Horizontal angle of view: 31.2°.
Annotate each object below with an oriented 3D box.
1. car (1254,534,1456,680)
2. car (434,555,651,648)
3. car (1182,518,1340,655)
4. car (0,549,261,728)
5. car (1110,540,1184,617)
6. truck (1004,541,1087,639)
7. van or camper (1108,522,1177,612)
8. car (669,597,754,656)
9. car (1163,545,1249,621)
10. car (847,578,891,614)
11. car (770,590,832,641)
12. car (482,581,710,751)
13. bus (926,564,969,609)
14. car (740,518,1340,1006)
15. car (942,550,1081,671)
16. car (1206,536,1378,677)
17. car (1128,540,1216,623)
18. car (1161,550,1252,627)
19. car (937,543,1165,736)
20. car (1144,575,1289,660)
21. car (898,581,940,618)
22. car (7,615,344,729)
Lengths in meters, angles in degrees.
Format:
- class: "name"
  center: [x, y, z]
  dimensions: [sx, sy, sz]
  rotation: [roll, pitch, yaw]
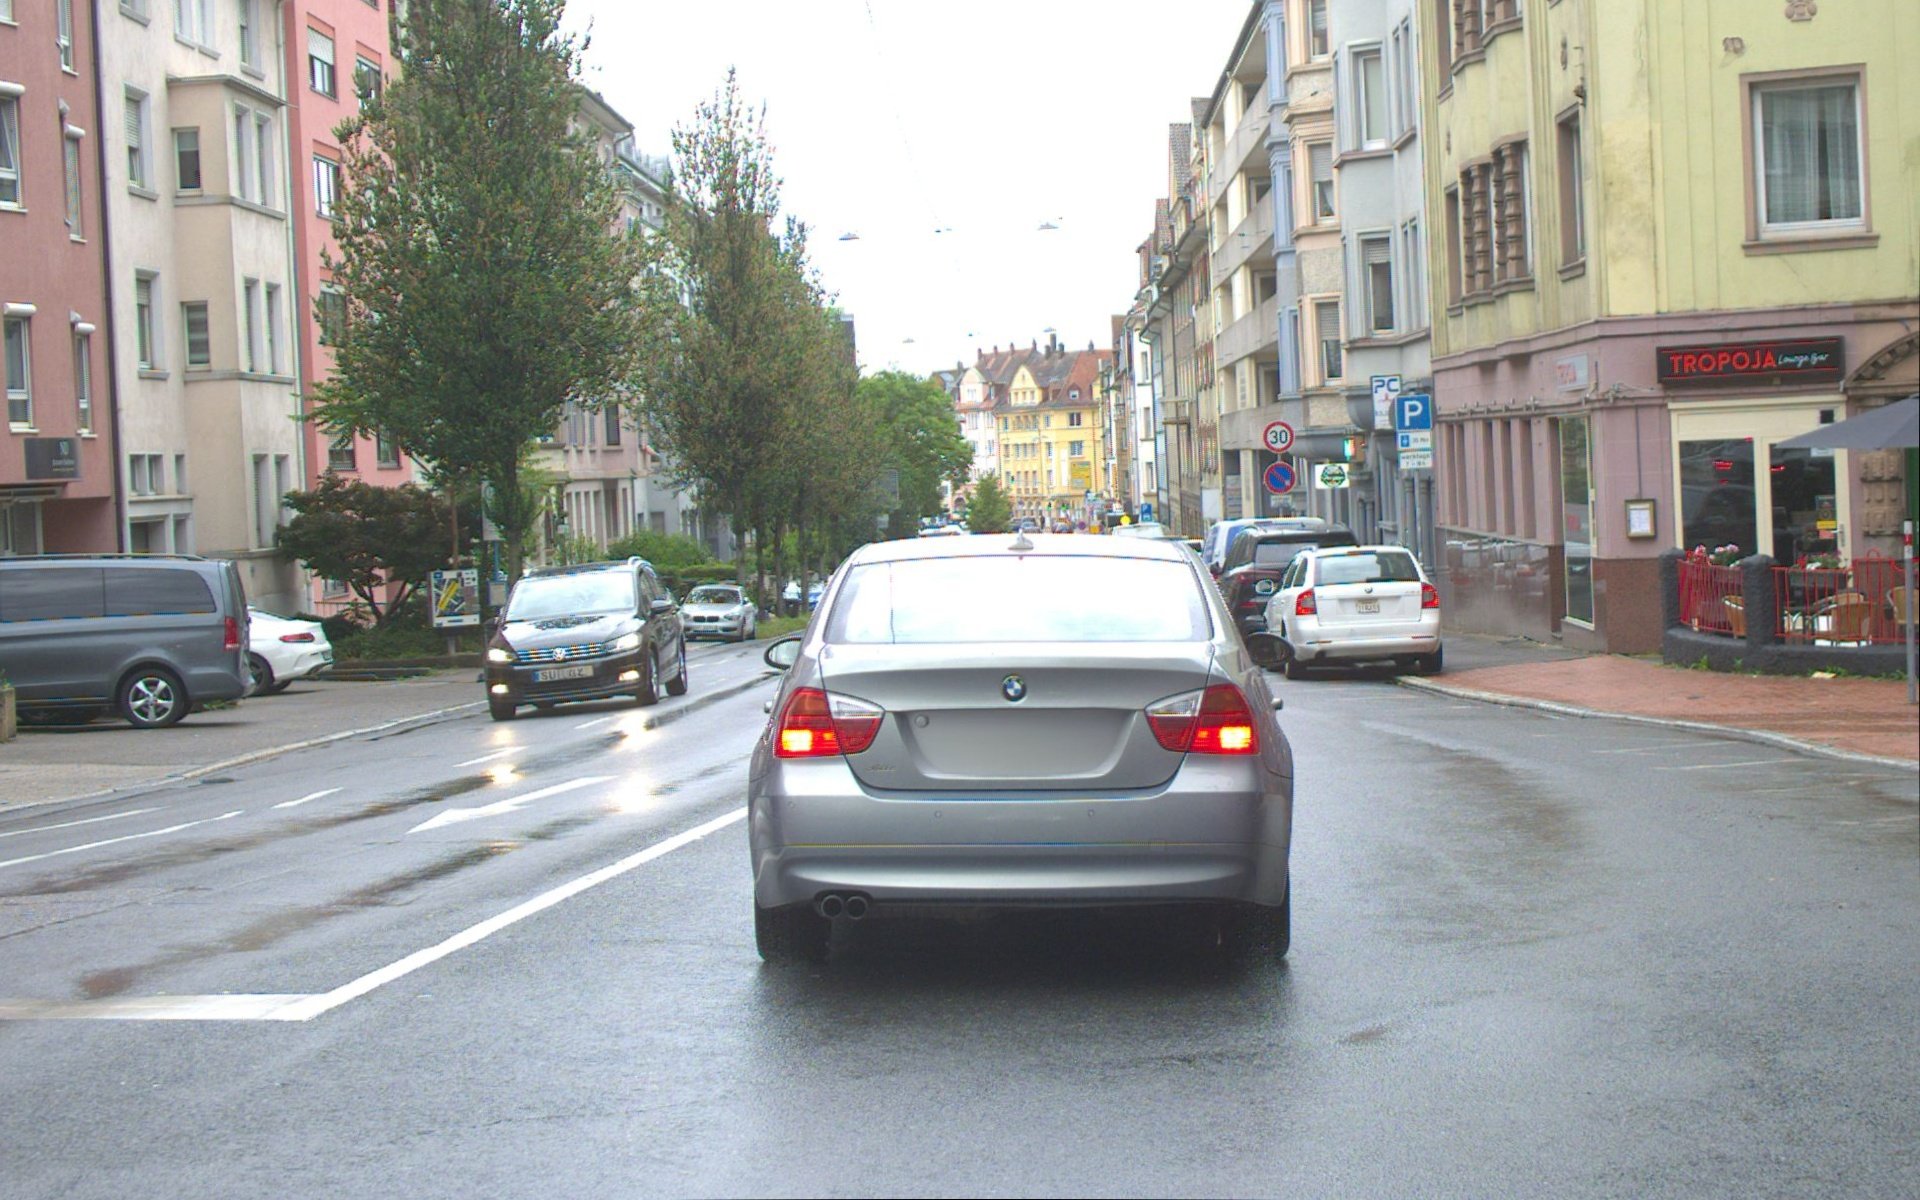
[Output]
- class: "car"
  center: [4.449, 0.068, 39.304]
  dimensions: [1.799, 1.559, 4.493]
  rotation: [-1, 0, 0]
- class: "car"
  center: [-9.990, 0.033, 82.560]
  dimensions: [4.829, 1.967, 2.048]
  rotation: [-3, 0, 2]
- class: "car"
  center: [4.383, -0.196, 50.734]
  dimensions: [1.919, 1.821, 5.009]
  rotation: [-3, 0, 1]
- class: "car"
  center: [-10.180, 0.403, 38.082]
  dimensions: [4.673, 1.932, 1.864]
  rotation: [0, 1, -8]
- class: "car"
  center: [5.626, -0.629, 103.861]
  dimensions: [1.982, 2.158, 4.750]
  rotation: [-3, 0, 1]
- class: "truck"
  center: [2.142, -0.239, 87.534]
  dimensions: [2.032, 2.404, 4.827]
  rotation: [-1, 0, 1]
- class: "van or camper"
  center: [6.094, -1.092, 114.303]
  dimensions: [2.033, 2.859, 6.884]
  rotation: [1, 0, 5]
- class: "car"
  center: [-6.294, 0.666, 87.397]
  dimensions: [1.726, 1.479, 3.988]
  rotation: [0, 0, 2]
- class: "car"
  center: [5.868, -0.398, 82.379]
  dimensions: [1.726, 1.664, 4.288]
  rotation: [-4, 0, 1]
- class: "car"
  center: [-4.178, -0.193, 158.093]
  dimensions: [1.691, 1.518, 3.736]
  rotation: [-4, 0, 2]
- class: "car"
  center: [-5.366, 0.505, 116.359]
  dimensions: [1.766, 1.588, 4.000]
  rotation: [-4, 0, 0]
- class: "car"
  center: [-3.964, 0.677, 38.142]
  dimensions: [1.621, 1.643, 4.419]
  rotation: [-5, 0, 4]
- class: "bus"
  center: [-0.868, -0.975, 245.229]
  dimensions: [2.668, 3.014, 7.670]
  rotation: [-3, 0, 1]
- class: "car"
  center: [0.131, 0.449, 12.028]
  dimensions: [1.769, 1.423, 3.741]
  rotation: [0, 1, -3]
- class: "car"
  center: [0.684, 0.143, 44.291]
  dimensions: [1.697, 1.478, 3.793]
  rotation: [-1, 0, 2]
- class: "car"
  center: [4.273, 0.079, 44.847]
  dimensions: [1.879, 1.725, 4.676]
  rotation: [-1, 0, 1]
- class: "car"
  center: [5.463, -0.472, 89.090]
  dimensions: [1.982, 2.000, 4.625]
  rotation: [-3, 0, 1]
- class: "car"
  center: [4.956, -0.232, 69.415]
  dimensions: [1.611, 1.469, 4.015]
  rotation: [-1, 0, 1]
- class: "car"
  center: [0.759, 0.302, 27.502]
  dimensions: [1.682, 1.423, 3.740]
  rotation: [-1, 0, 3]
- class: "car"
  center: [4.610, 0.312, 62.434]
  dimensions: [1.875, 1.462, 4.775]
  rotation: [-1, 0, -5]
- class: "car"
  center: [-1.829, -0.026, 154.853]
  dimensions: [1.636, 1.503, 3.754]
  rotation: [-5, 0, 1]
- class: "car"
  center: [-11.673, 1.062, 51.356]
  dimensions: [4.548, 1.396, 1.768]
  rotation: [-3, 0, 1]
